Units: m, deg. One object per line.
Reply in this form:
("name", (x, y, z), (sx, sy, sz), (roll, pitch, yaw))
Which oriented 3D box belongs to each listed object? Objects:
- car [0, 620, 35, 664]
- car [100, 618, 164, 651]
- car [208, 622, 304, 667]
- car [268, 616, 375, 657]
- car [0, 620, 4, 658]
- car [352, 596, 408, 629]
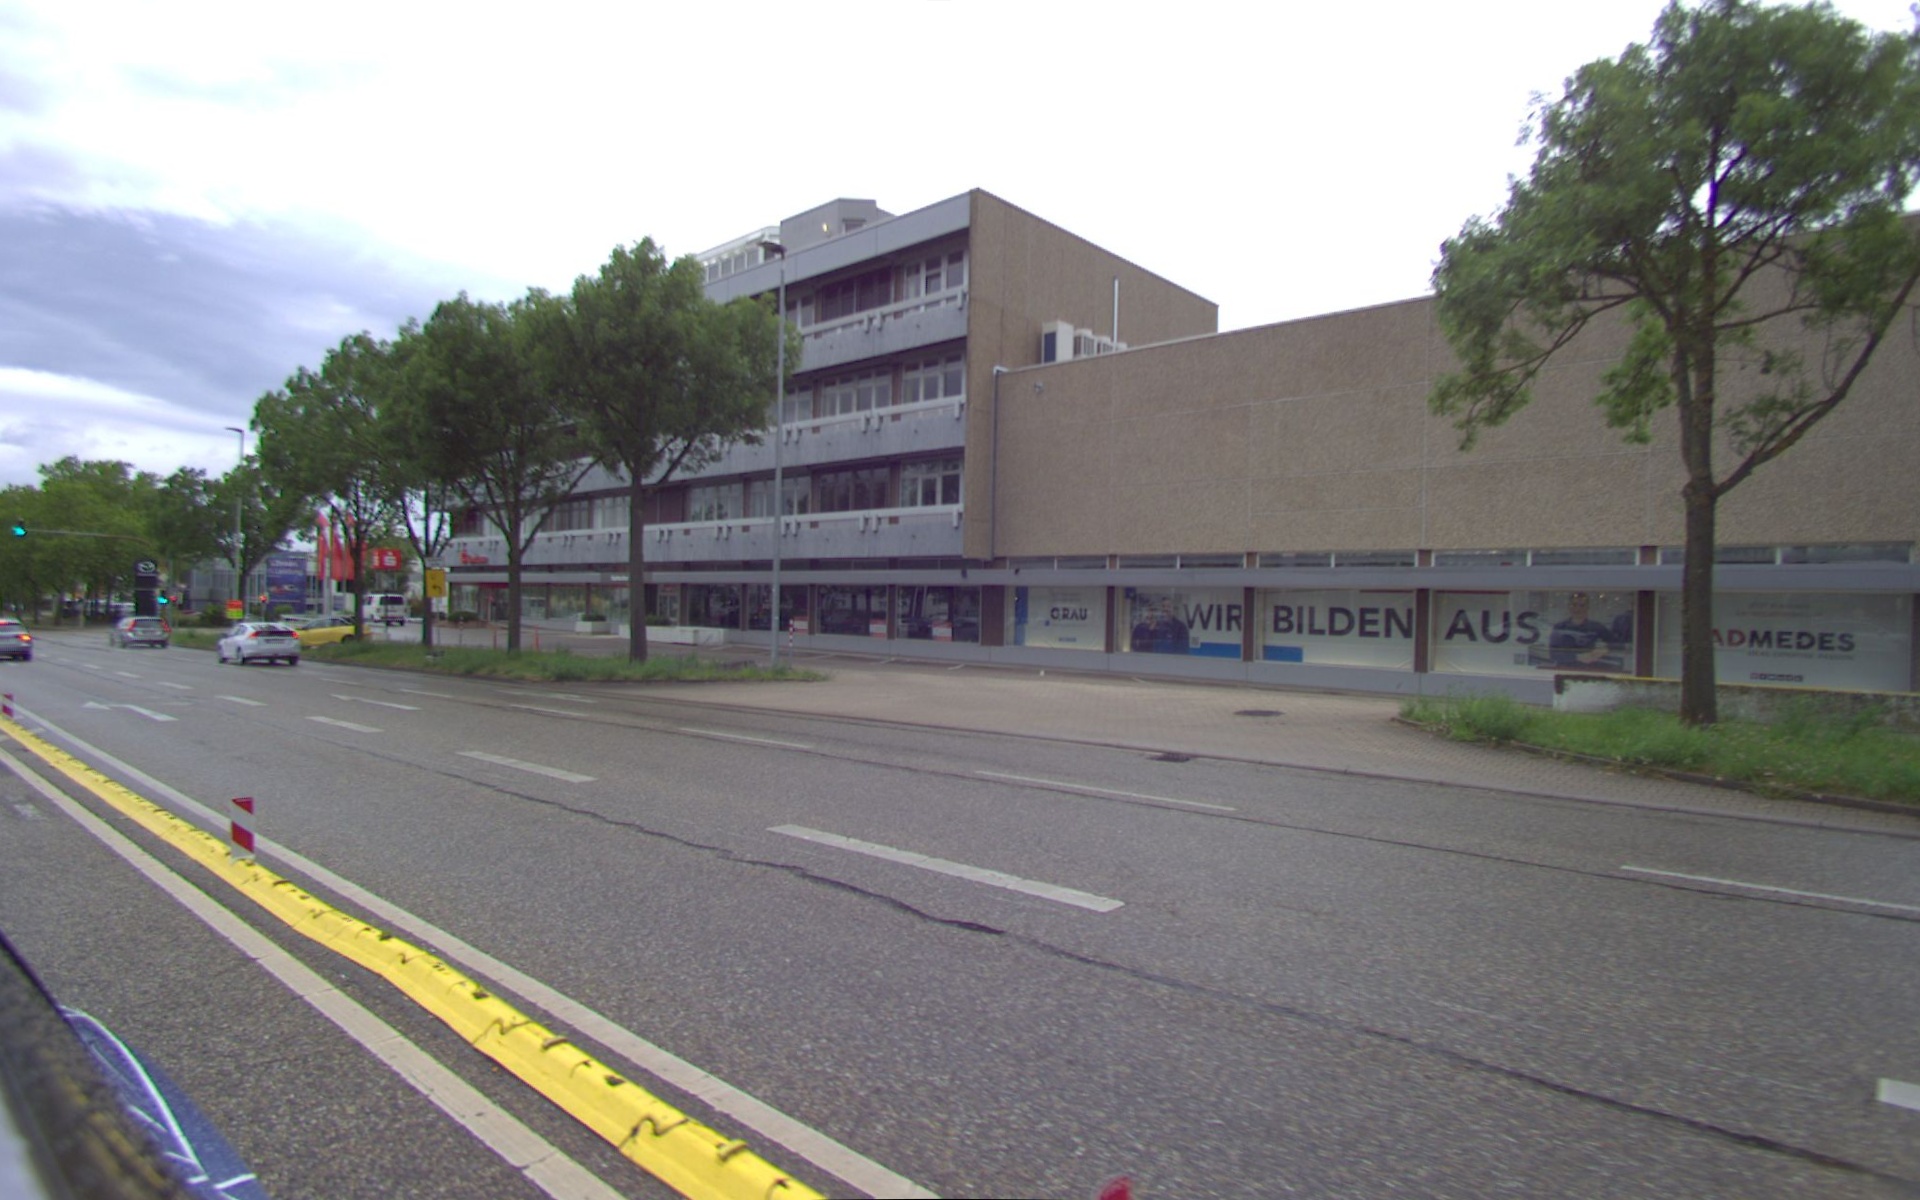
("car", (-32.790, 1.385, 34.121), (4.613, 1.417, 1.765), (-1, -3, 41))
("car", (-41.022, 1.686, 50.095), (4.781, 1.564, 1.722), (-1, -3, 42))
("car", (-24.280, 1.496, 34.861), (4.468, 1.417, 1.722), (0, -3, 42))
("car", (-28.259, 1.599, 44.877), (3.650, 1.520, 1.626), (-2, 2, -13))
("car", (-38.248, 1.468, 38.920), (3.997, 1.417, 1.723), (-1, -3, 40))
("car", (-37.901, 0.786, 66.071), (1.970, 2.029, 4.889), (3, -3, -44))
